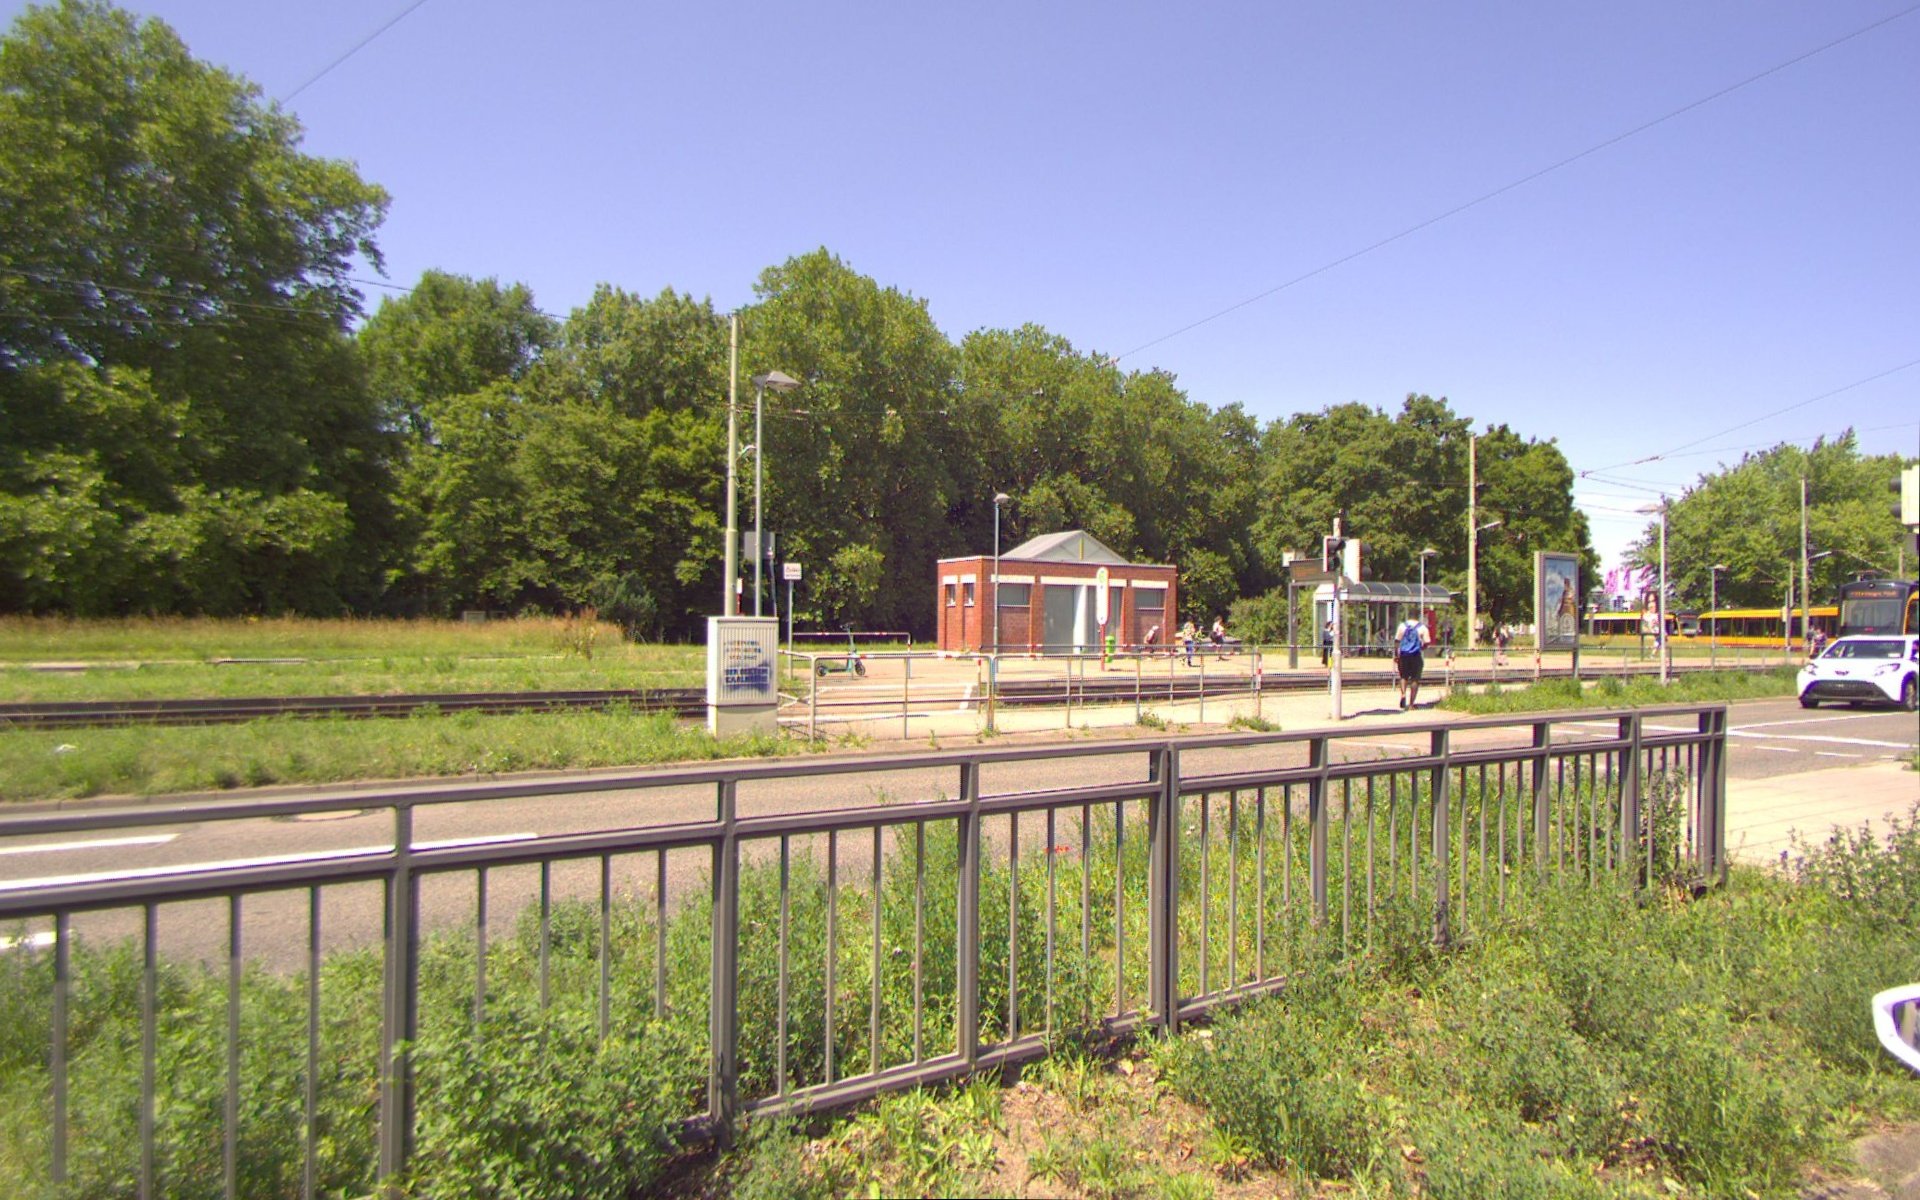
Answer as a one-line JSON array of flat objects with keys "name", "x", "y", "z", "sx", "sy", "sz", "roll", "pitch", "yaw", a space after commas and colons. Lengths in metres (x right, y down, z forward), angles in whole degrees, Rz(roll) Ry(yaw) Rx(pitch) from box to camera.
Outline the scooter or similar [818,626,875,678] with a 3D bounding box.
[{"name": "scooter or similar", "x": -2.641, "y": 1.207, "z": 23.444, "sx": 1.217, "sy": 1.183, "sz": 0.508, "roll": 1, "pitch": -1, "yaw": -30}]

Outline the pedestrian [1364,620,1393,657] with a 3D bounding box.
[{"name": "pedestrian", "x": 17.239, "y": 1.578, "z": 41.369, "sx": 0.710, "sy": 1.531, "sz": 0.841, "roll": 1, "pitch": -1, "yaw": -19}]

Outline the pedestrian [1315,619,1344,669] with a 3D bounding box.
[{"name": "pedestrian", "x": 11.920, "y": 1.402, "z": 32.374, "sx": 0.688, "sy": 1.575, "sz": 0.629, "roll": 1, "pitch": -1, "yaw": -42}]

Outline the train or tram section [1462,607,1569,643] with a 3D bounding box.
[{"name": "train or tram section", "x": 67.577, "y": 3.044, "z": 123.142, "sx": 3.162, "sy": 3.984, "sz": 18.504, "roll": 1, "pitch": -1, "yaw": 1}]

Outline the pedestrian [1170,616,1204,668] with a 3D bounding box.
[{"name": "pedestrian", "x": 7.176, "y": 1.328, "z": 31.803, "sx": 0.799, "sy": 1.611, "sz": 0.668, "roll": 1, "pitch": -1, "yaw": -30}]

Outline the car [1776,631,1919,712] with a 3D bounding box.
[{"name": "car", "x": 18.961, "y": 1.437, "z": 20.966, "sx": 3.747, "sy": 1.514, "sz": 1.836, "roll": 1, "pitch": -1, "yaw": -30}]

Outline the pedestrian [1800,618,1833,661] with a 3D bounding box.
[{"name": "pedestrian", "x": 42.088, "y": 1.933, "z": 49.359, "sx": 1.009, "sy": 2.040, "sz": 0.976, "roll": 1, "pitch": -1, "yaw": -30}]

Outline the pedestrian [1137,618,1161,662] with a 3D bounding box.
[{"name": "pedestrian", "x": 6.600, "y": 1.391, "z": 35.066, "sx": 0.563, "sy": 1.499, "sz": 0.636, "roll": 1, "pitch": -1, "yaw": -30}]

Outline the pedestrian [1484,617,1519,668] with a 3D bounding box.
[{"name": "pedestrian", "x": 20.027, "y": 1.554, "z": 37.150, "sx": 0.832, "sy": 1.802, "sz": 0.714, "roll": -1, "pitch": 5, "yaw": -30}]

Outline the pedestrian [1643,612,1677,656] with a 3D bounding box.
[{"name": "pedestrian", "x": 32.814, "y": 1.587, "z": 47.085, "sx": 1.009, "sy": 2.040, "sz": 0.976, "roll": 1, "pitch": -1, "yaw": -30}]

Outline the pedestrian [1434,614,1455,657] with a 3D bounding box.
[{"name": "pedestrian", "x": 20.734, "y": 1.517, "z": 42.985, "sx": 0.707, "sy": 1.824, "sz": 0.845, "roll": 0, "pitch": -1, "yaw": 17}]

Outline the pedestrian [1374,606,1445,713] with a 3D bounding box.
[{"name": "pedestrian", "x": 8.066, "y": 1.046, "z": 18.040, "sx": 0.711, "sy": 1.802, "sz": 0.835, "roll": -1, "pitch": 5, "yaw": -30}]

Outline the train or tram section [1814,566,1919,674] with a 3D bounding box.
[{"name": "train or tram section", "x": 45.836, "y": 1.037, "z": 44.636, "sx": 29.690, "sy": 3.799, "sz": 2.943, "roll": 1, "pitch": -1, "yaw": -31}]

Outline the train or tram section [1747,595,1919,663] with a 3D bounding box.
[{"name": "train or tram section", "x": 59.595, "y": 1.929, "z": 68.085, "sx": 3.161, "sy": 3.984, "sz": 18.508, "roll": 0, "pitch": -1, "yaw": 16}]

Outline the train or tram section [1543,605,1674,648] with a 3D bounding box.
[{"name": "train or tram section", "x": 66.433, "y": 2.714, "z": 103.837, "sx": 3.161, "sy": 3.984, "sz": 18.511, "roll": 1, "pitch": -1, "yaw": 6}]

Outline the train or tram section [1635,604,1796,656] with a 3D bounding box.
[{"name": "train or tram section", "x": 64.151, "y": 2.502, "z": 86.294, "sx": 3.160, "sy": 3.984, "sz": 18.513, "roll": 1, "pitch": -1, "yaw": 11}]

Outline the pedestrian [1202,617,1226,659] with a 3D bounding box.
[{"name": "pedestrian", "x": 9.000, "y": 1.357, "z": 35.606, "sx": 0.573, "sy": 1.476, "sz": 0.639, "roll": 1, "pitch": -1, "yaw": -15}]

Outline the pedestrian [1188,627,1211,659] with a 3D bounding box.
[{"name": "pedestrian", "x": 8.798, "y": 1.572, "z": 36.914, "sx": 0.560, "sy": 1.139, "sz": 0.639, "roll": 1, "pitch": -1, "yaw": -15}]
